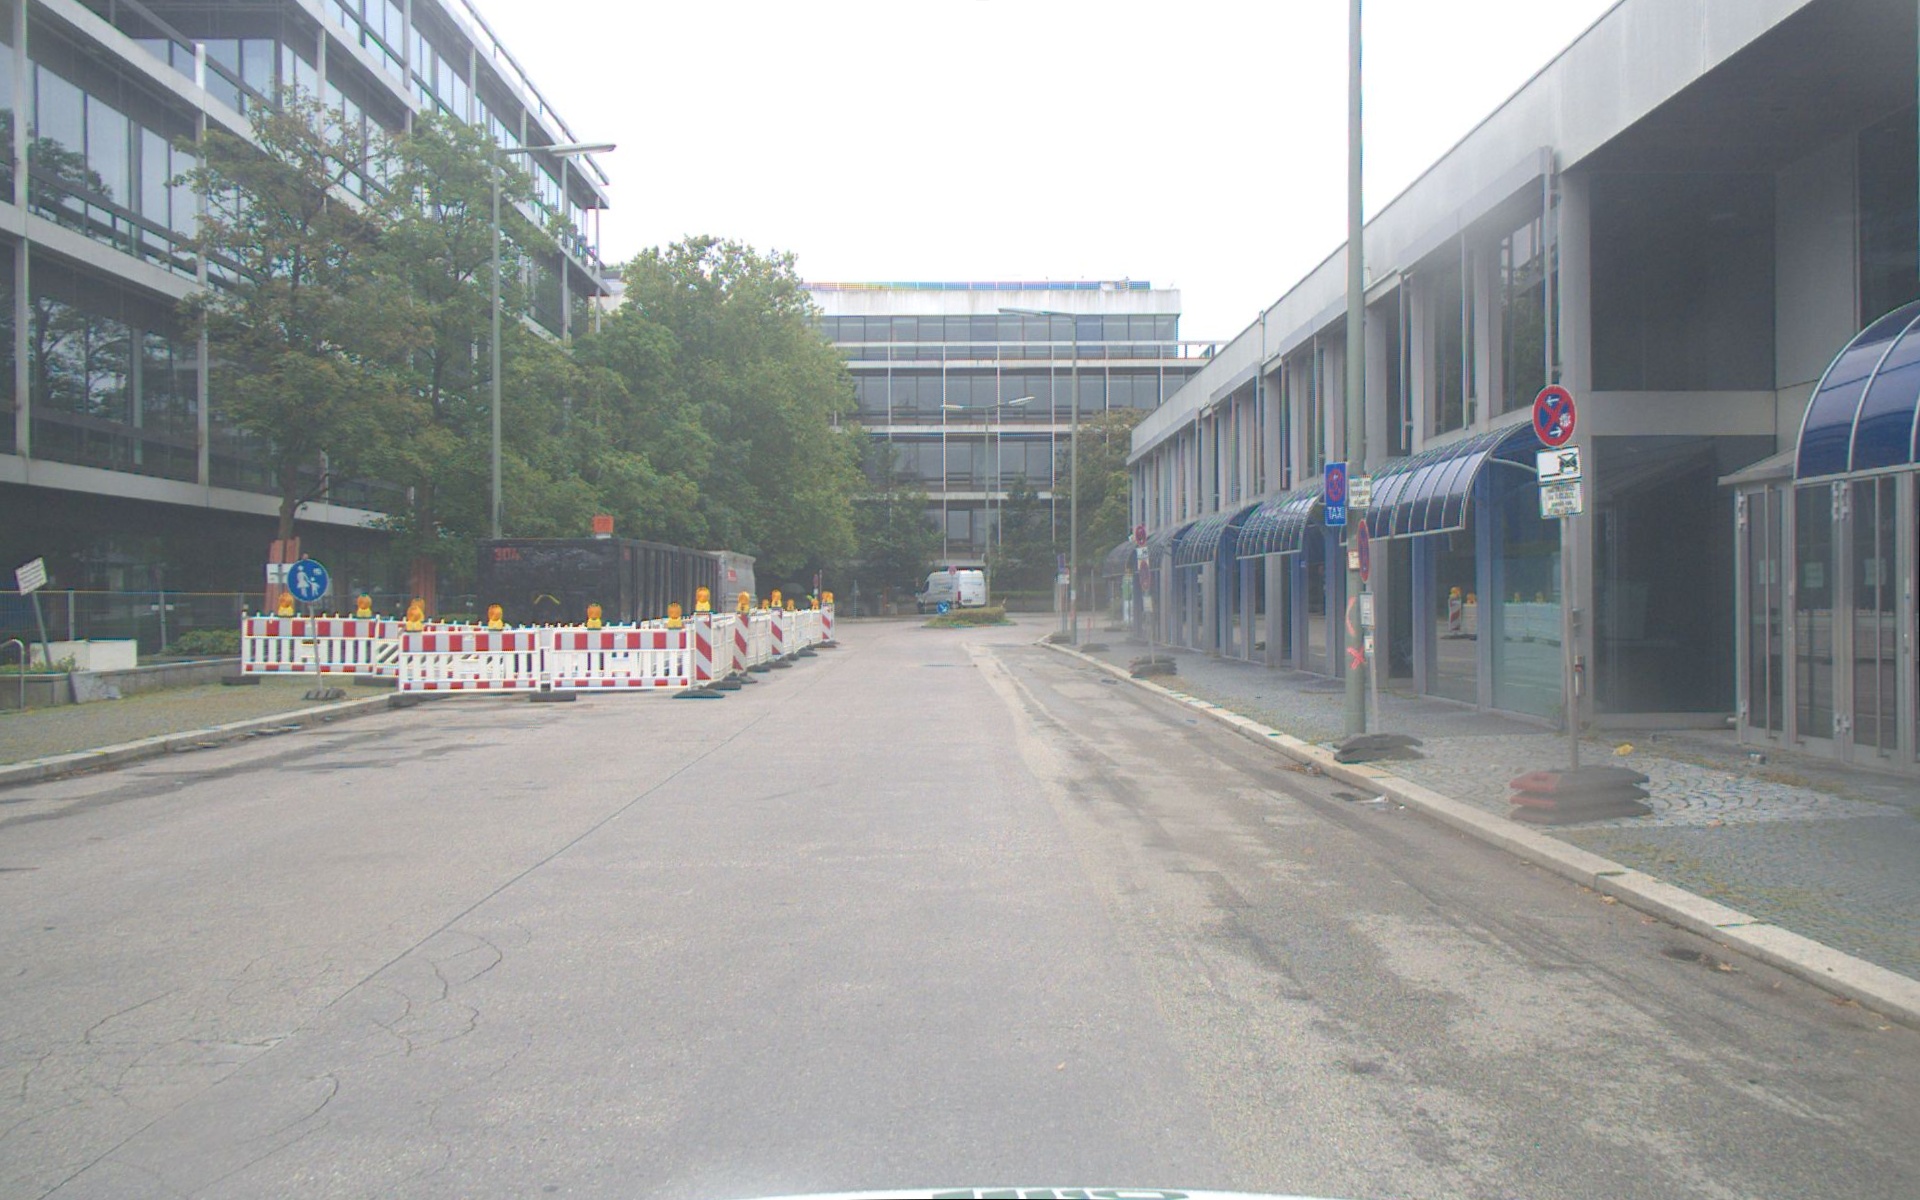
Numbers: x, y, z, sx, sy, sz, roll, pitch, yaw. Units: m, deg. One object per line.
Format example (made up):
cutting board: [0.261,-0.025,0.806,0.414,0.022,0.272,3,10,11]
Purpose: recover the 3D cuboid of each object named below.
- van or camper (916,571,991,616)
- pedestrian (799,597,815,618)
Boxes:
van or camper: [-0.485,-0.375,103.717,2.129,2.626,6.483,0,-1,-26]
pedestrian: [-9.362,0.452,101.420,0.907,1.300,0.542,0,0,1]
